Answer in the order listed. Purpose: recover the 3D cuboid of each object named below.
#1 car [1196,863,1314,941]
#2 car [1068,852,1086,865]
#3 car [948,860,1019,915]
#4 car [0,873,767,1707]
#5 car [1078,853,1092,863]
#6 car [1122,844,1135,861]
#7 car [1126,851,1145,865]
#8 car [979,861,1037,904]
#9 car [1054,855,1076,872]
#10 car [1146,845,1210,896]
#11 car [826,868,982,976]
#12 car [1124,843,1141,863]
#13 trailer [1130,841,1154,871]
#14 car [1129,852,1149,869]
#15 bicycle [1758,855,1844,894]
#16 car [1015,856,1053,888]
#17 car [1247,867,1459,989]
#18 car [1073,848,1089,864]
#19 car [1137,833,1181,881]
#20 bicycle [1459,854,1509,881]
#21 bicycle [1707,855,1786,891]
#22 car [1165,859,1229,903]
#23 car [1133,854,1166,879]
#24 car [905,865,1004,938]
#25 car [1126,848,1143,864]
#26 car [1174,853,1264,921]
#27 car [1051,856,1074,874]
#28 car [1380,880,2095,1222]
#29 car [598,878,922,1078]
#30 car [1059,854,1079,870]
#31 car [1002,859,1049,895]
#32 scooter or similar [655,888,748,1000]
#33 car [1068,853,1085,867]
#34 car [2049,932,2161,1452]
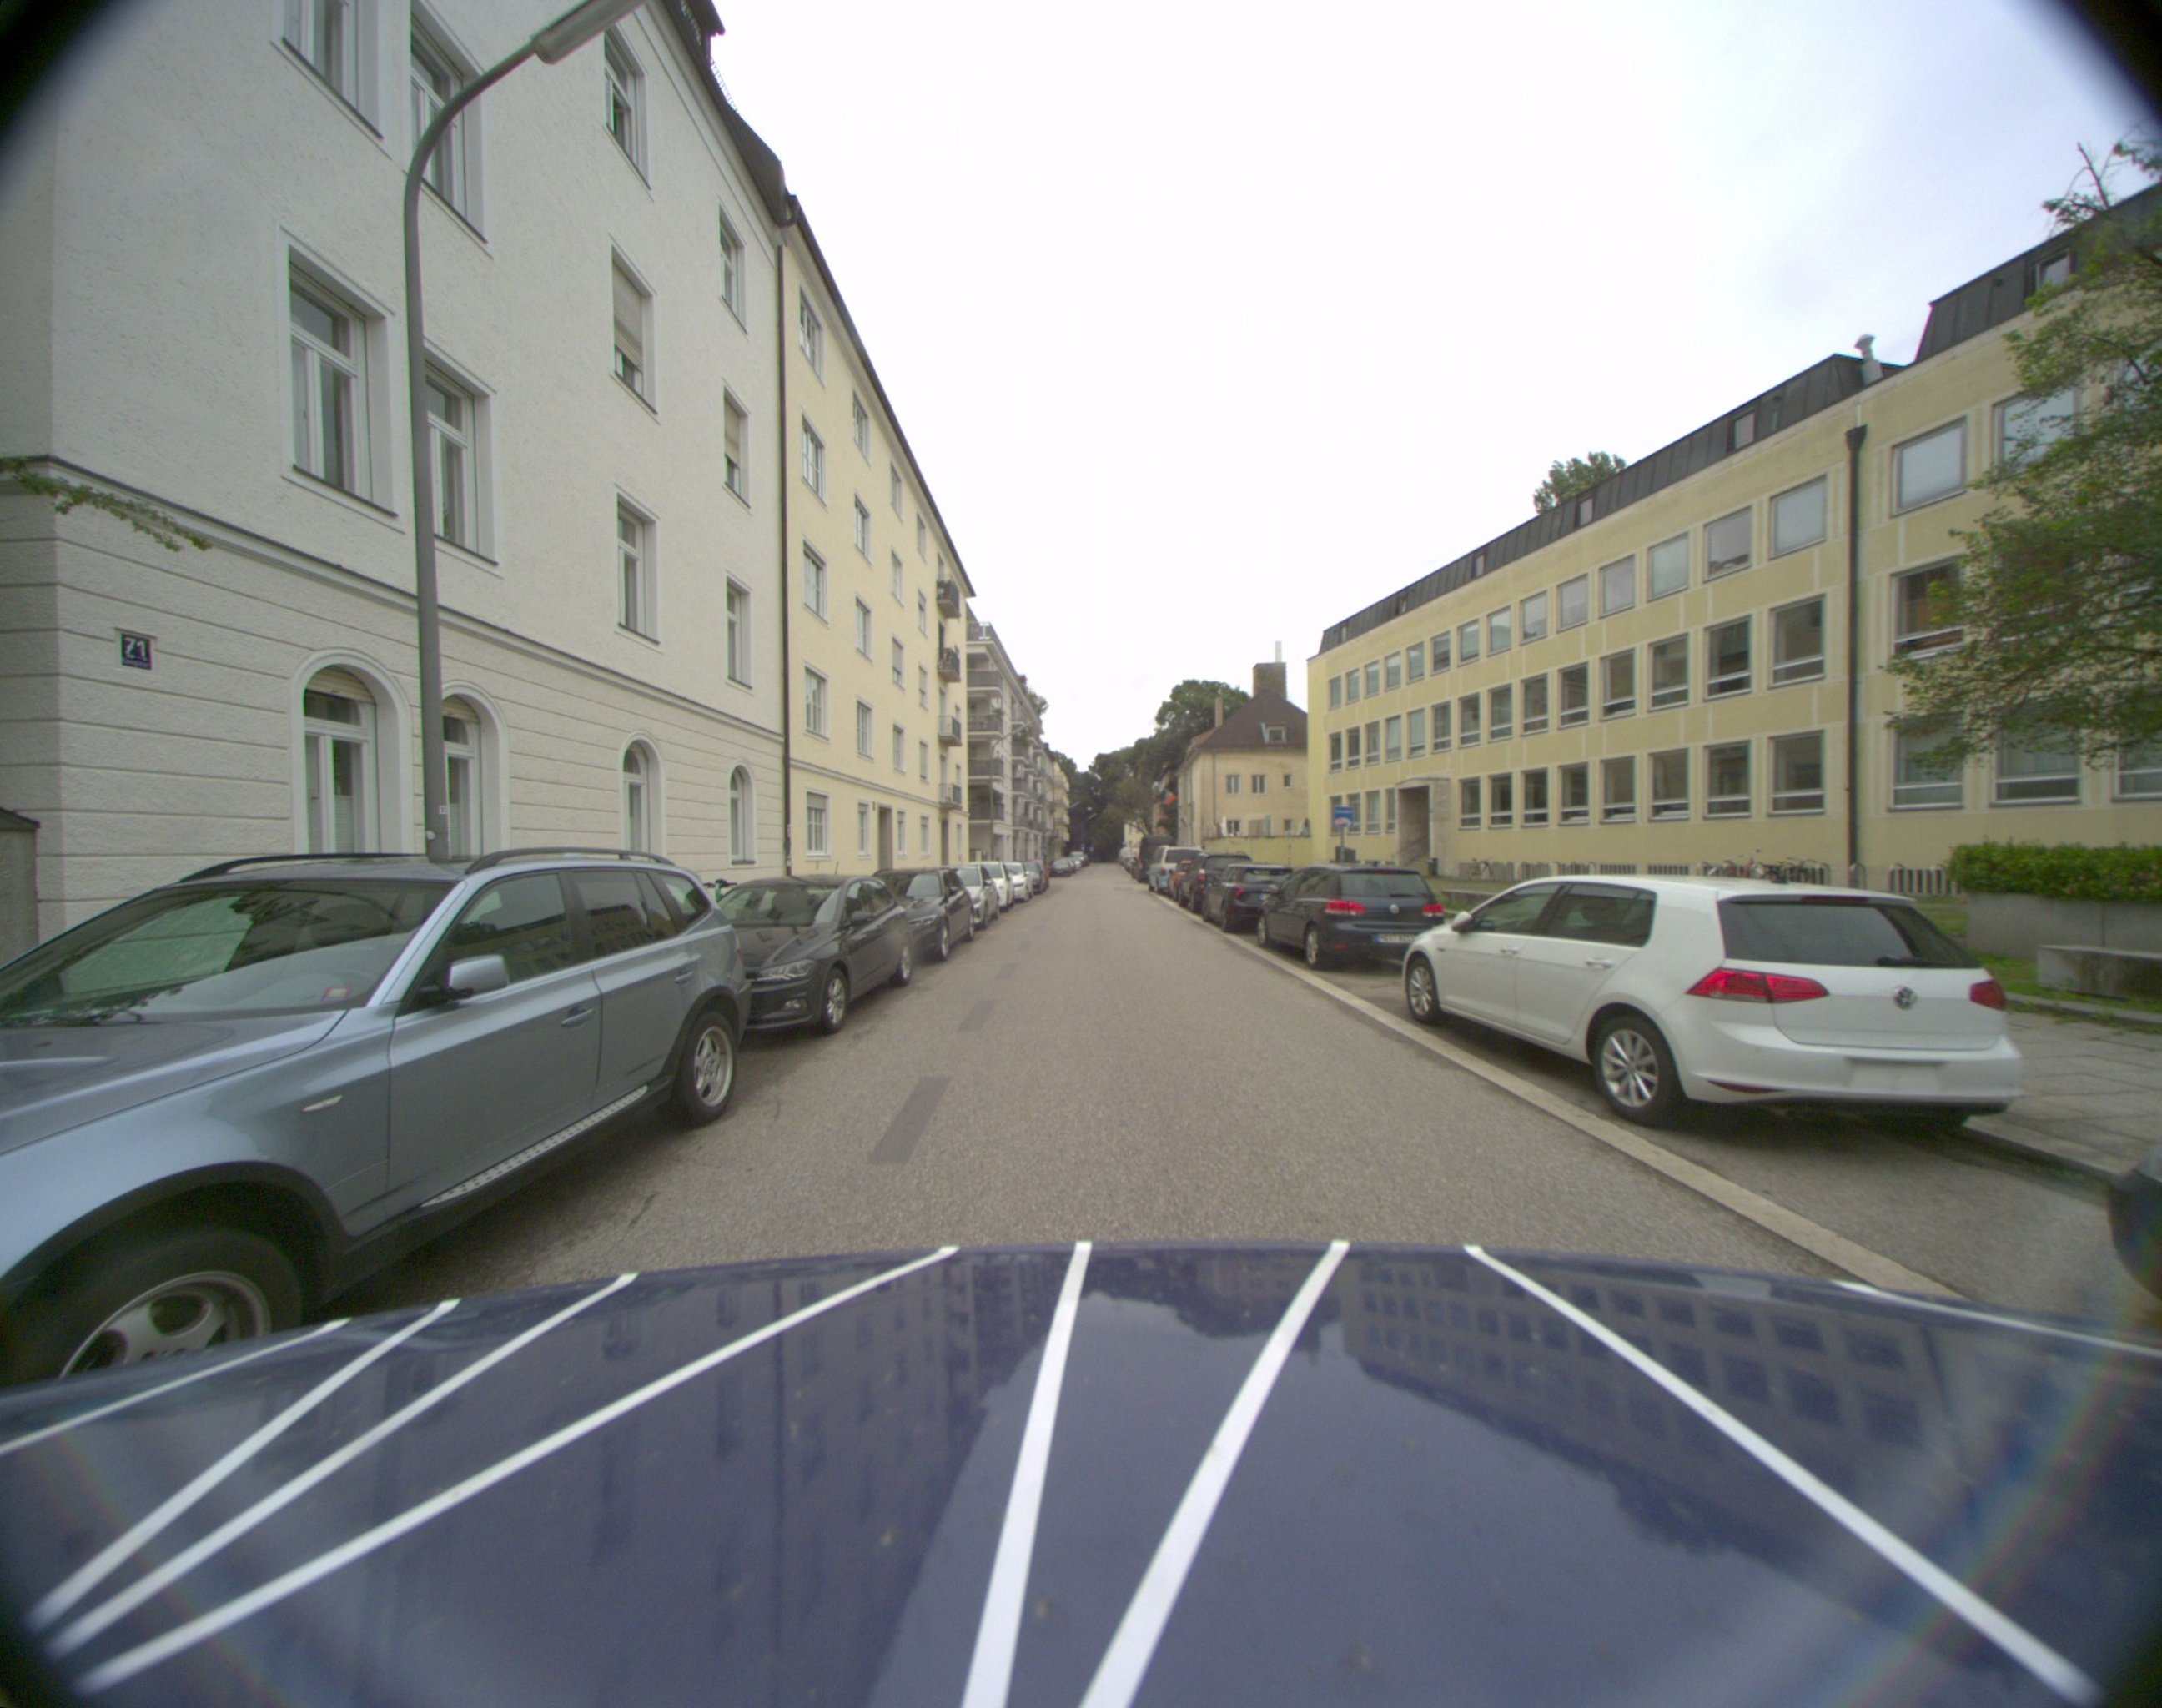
[{"bbox_3d":[3.662,0.949,16.643,1.684,1.445,3.869,1,0,0],"label":"car"},{"bbox_3d":[-0.484,0.504,90.401,1.765,1.449,3.748,-1,1,4],"label":"car"},{"bbox_3d":[-2.944,0.978,23.652,1.683,1.473,4.166,-1,1,0],"label":"car"},{"bbox_3d":[-3.089,0.975,3.051,1.726,1.625,4.457,-1,1,1],"label":"car"},{"bbox_3d":[0.667,0.544,114.838,1.871,1.455,4.268,-1,1,3],"label":"car"},{"bbox_3d":[7.187,-0.302,116.025,1.880,2.539,4.370,-1,1,3],"label":"car"},{"bbox_3d":[5.989,0.454,83.298,1.818,1.444,3.928,-1,1,1],"label":"car"},{"bbox_3d":[-2.634,0.998,28.433,1.683,1.402,4.442,-1,0,0],"label":"car"},{"bbox_3d":[-1.364,0.820,67.298,1.766,1.449,3.418,-1,1,1],"label":"car"},{"bbox_3d":[3.989,0.621,32.113,1.933,1.967,5.021,0,0,-1],"label":"car"},{"bbox_3d":[-2.858,1.035,13.231,1.683,1.419,4.390,-1,1,0],"label":"car"},{"bbox_3d":[6.713,-0.138,99.647,2.104,2.418,4.550,-1,1,4],"label":"car"},{"bbox_3d":[5.389,0.165,66.816,1.817,2.521,3.390,3,1,6],"label":"trailer"},{"bbox_3d":[5.490,0.594,72.019,1.767,1.505,3.842,0,1,2],"label":"car"},{"bbox_3d":[19.639,0.537,20.731,1.953,1.008,0.625,-1,1,-9],"label":"bicycle"},{"bbox_3d":[-2.369,0.871,39.104,1.683,1.489,3.823,-1,1,0],"label":"car"},{"bbox_3d":[3.866,0.964,11.551,1.661,1.445,3.973,1,0,-2],"label":"car"},{"bbox_3d":[-0.007,0.179,99.061,1.871,2.002,4.268,-1,1,3],"label":"car"},{"bbox_3d":[4.539,0.173,44.952,2.302,2.630,5.654,0,0,3],"label":"car"},{"bbox_3d":[16.809,0.562,31.697,1.954,1.008,0.580,-2,1,-16],"label":"bicycle"},{"bbox_3d":[19.392,0.544,22.146,1.953,1.008,0.625,-1,1,-9],"label":"bicycle"},{"bbox_3d":[4.080,0.922,27.370,1.748,1.379,3.918,-2,0,1],"label":"car"},{"bbox_3d":[4.499,0.798,50.302,1.706,1.485,3.488,-1,1,-3],"label":"car"},{"bbox_3d":[-2.893,1.041,18.207,1.683,1.419,4.166,-1,1,0],"label":"car"},{"bbox_3d":[6.258,0.224,89.321,1.817,1.723,3.650,-1,1,2],"label":"car"},{"bbox_3d":[3.856,0.855,21.957,1.748,1.656,4.448,2,0,0],"label":"car"},{"bbox_3d":[-1.504,0.895,62.488,1.784,1.385,4.245,-1,1,-2],"label":"car"},{"bbox_3d":[3.905,1.005,5.617,1.661,1.445,4.072,1,0,-2],"label":"car"},{"bbox_3d":[-3.007,1.064,8.157,1.683,1.419,4.087,-1,1,1],"label":"car"},{"bbox_3d":[-1.096,0.739,71.956,1.766,1.449,3.747,-1,1,1],"label":"car"},{"bbox_3d":[-2.401,0.962,33.700,1.683,1.402,4.421,-1,0,0],"label":"car"},{"bbox_3d":[-4.462,1.023,9.001,0.486,1.157,1.172,-2,1,-1],"label":"scooter or similar"},{"bbox_3d":[-0.511,0.601,83.846,1.766,1.449,3.747,-1,1,1],"label":"car"},{"bbox_3d":[3.935,0.987,0.191,1.759,1.445,4.395,1,0,0],"label":"car"}]
